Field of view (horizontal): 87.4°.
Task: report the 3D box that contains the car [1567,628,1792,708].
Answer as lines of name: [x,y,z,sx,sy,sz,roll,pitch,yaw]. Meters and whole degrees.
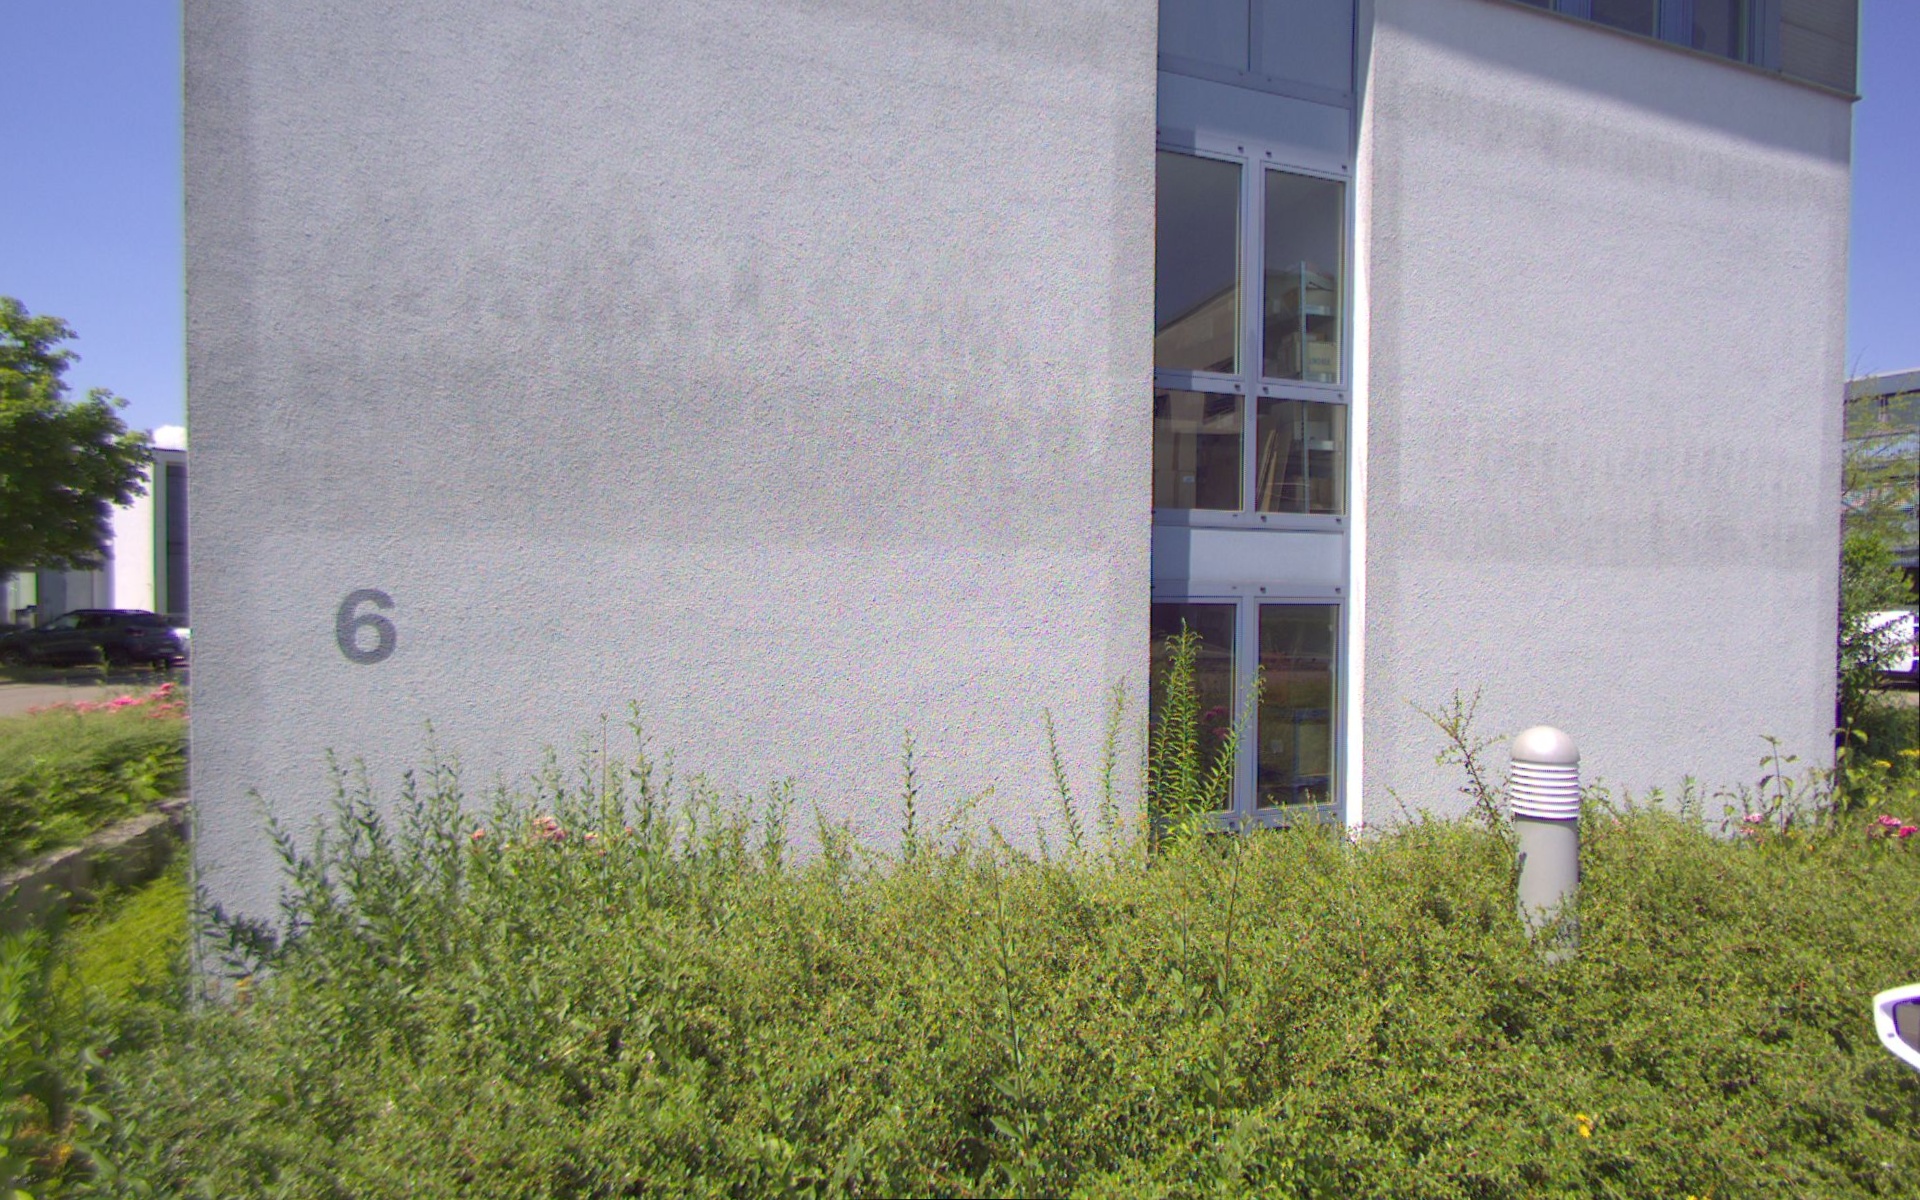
car: [15.095,1.348,21.060,4.420,1.492,1.852,0,0,-24]

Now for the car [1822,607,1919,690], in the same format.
car: [24.062,1.142,25.105,4.732,1.916,1.878,0,0,-22]

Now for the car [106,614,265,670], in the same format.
car: [-20.878,1.113,27.177,3.030,1.443,1.549,1,-1,-4]

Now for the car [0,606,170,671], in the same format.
car: [-21.572,0.937,24.701,2.942,1.443,1.549,2,-1,-4]
